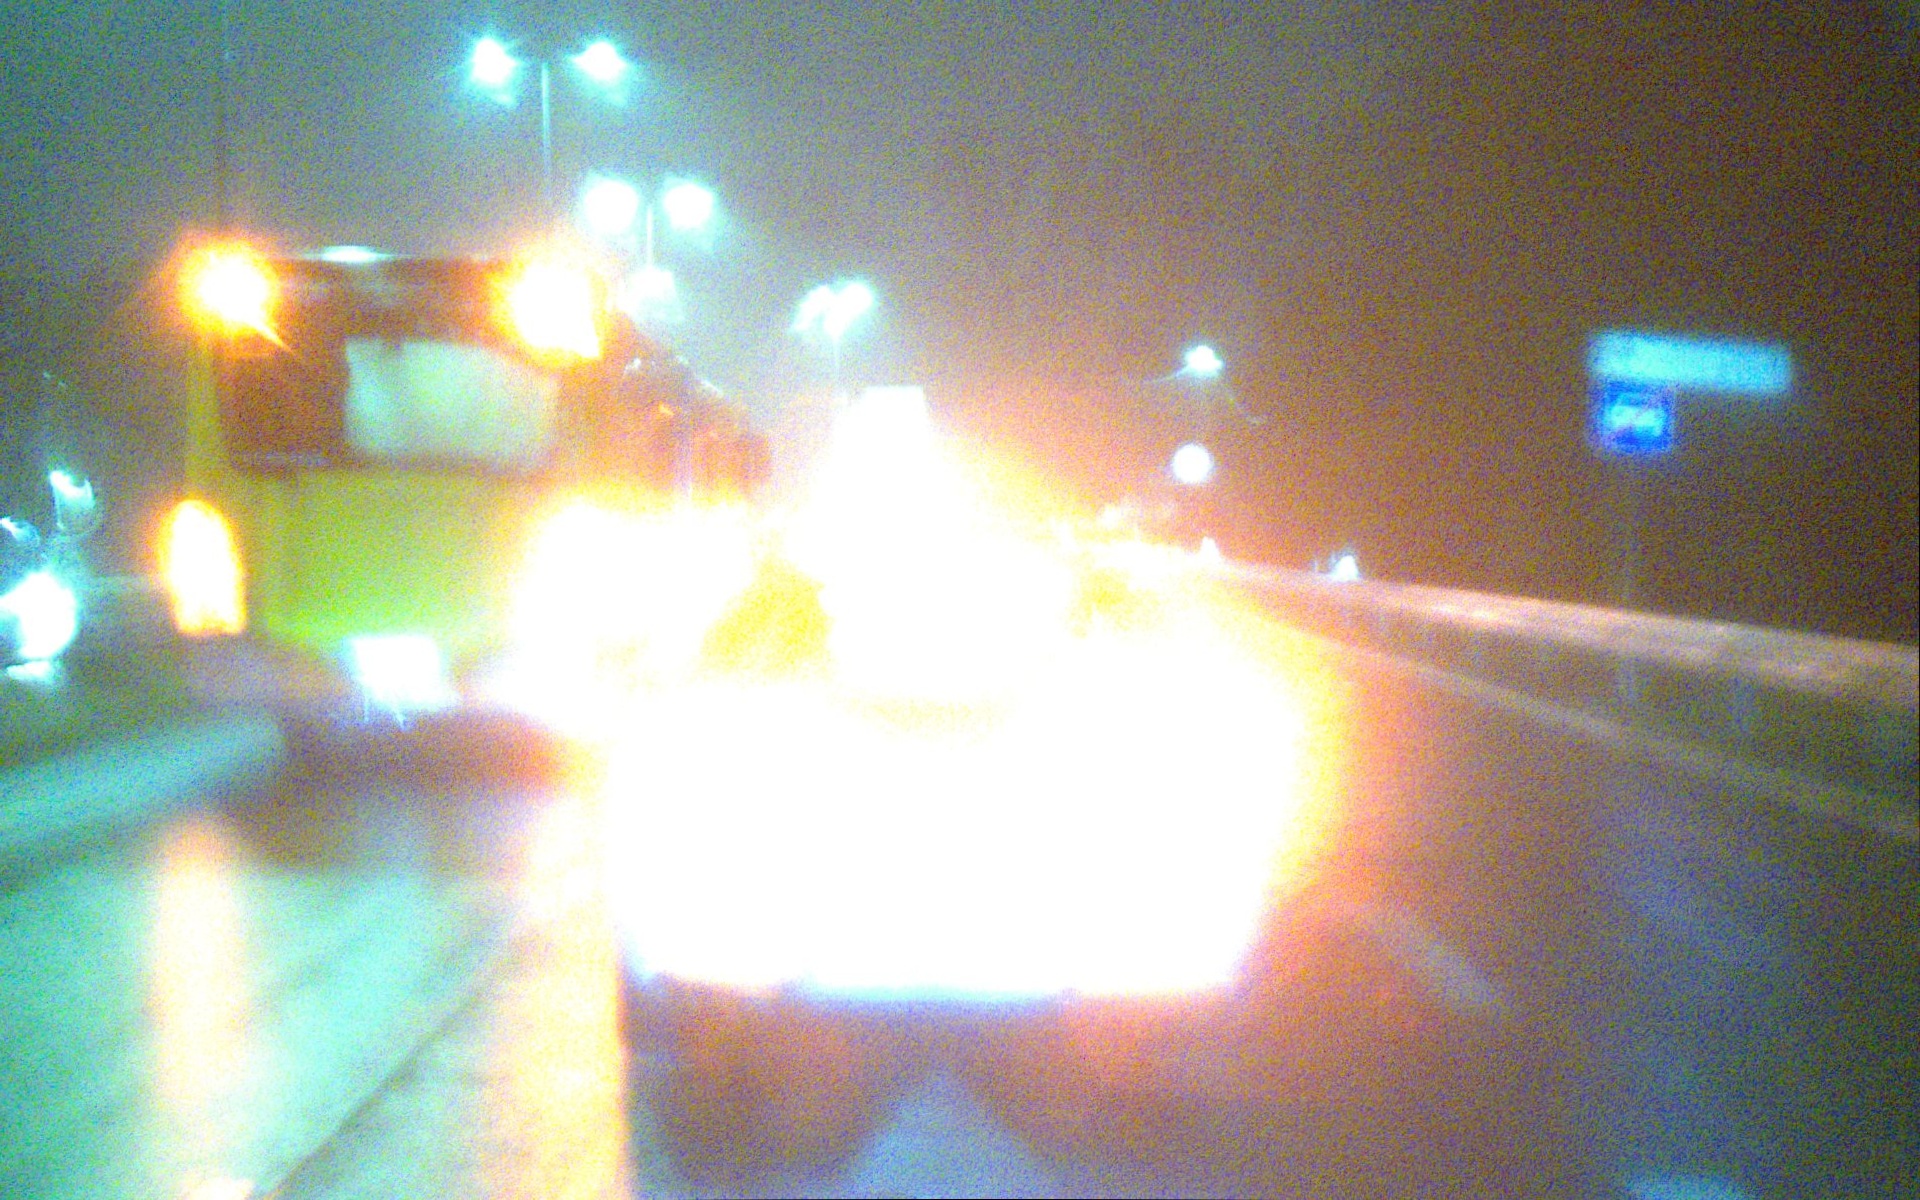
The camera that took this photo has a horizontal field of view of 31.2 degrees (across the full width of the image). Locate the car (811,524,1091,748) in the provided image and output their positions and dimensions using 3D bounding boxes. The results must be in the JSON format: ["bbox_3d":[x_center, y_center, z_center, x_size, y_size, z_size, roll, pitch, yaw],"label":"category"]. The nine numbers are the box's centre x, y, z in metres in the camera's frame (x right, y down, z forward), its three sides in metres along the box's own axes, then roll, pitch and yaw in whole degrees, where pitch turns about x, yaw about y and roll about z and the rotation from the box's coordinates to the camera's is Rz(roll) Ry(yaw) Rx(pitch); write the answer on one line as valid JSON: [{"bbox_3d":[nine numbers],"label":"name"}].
[{"bbox_3d":[-0.060,0.210,24.429,1.822,1.456,3.716,1,1,0],"label":"car"}]

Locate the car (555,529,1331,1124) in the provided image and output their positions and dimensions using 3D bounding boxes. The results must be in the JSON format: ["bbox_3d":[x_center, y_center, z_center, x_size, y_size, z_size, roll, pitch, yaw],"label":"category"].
[{"bbox_3d":[-0.066,0.546,10.536,1.944,1.486,3.716,1,1,-1],"label":"car"}]

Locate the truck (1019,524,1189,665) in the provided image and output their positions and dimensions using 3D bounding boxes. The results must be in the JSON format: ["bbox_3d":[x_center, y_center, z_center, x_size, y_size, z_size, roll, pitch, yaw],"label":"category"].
[{"bbox_3d":[2.864,-0.094,67.026,3.070,2.520,7.165,2,0,3],"label":"truck"}]

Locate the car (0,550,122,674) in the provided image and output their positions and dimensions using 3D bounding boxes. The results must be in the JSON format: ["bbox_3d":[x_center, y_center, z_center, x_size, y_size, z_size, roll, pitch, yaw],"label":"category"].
[{"bbox_3d":[-14.381,0.156,52.707,1.993,1.803,4.200,2,0,0],"label":"car"}]

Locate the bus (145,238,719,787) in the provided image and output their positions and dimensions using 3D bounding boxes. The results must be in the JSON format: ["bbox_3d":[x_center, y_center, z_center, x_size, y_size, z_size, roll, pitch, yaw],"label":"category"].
[{"bbox_3d":[-3.401,-0.625,24.626,2.743,3.112,9.202,2,1,-1],"label":"bus"}]
